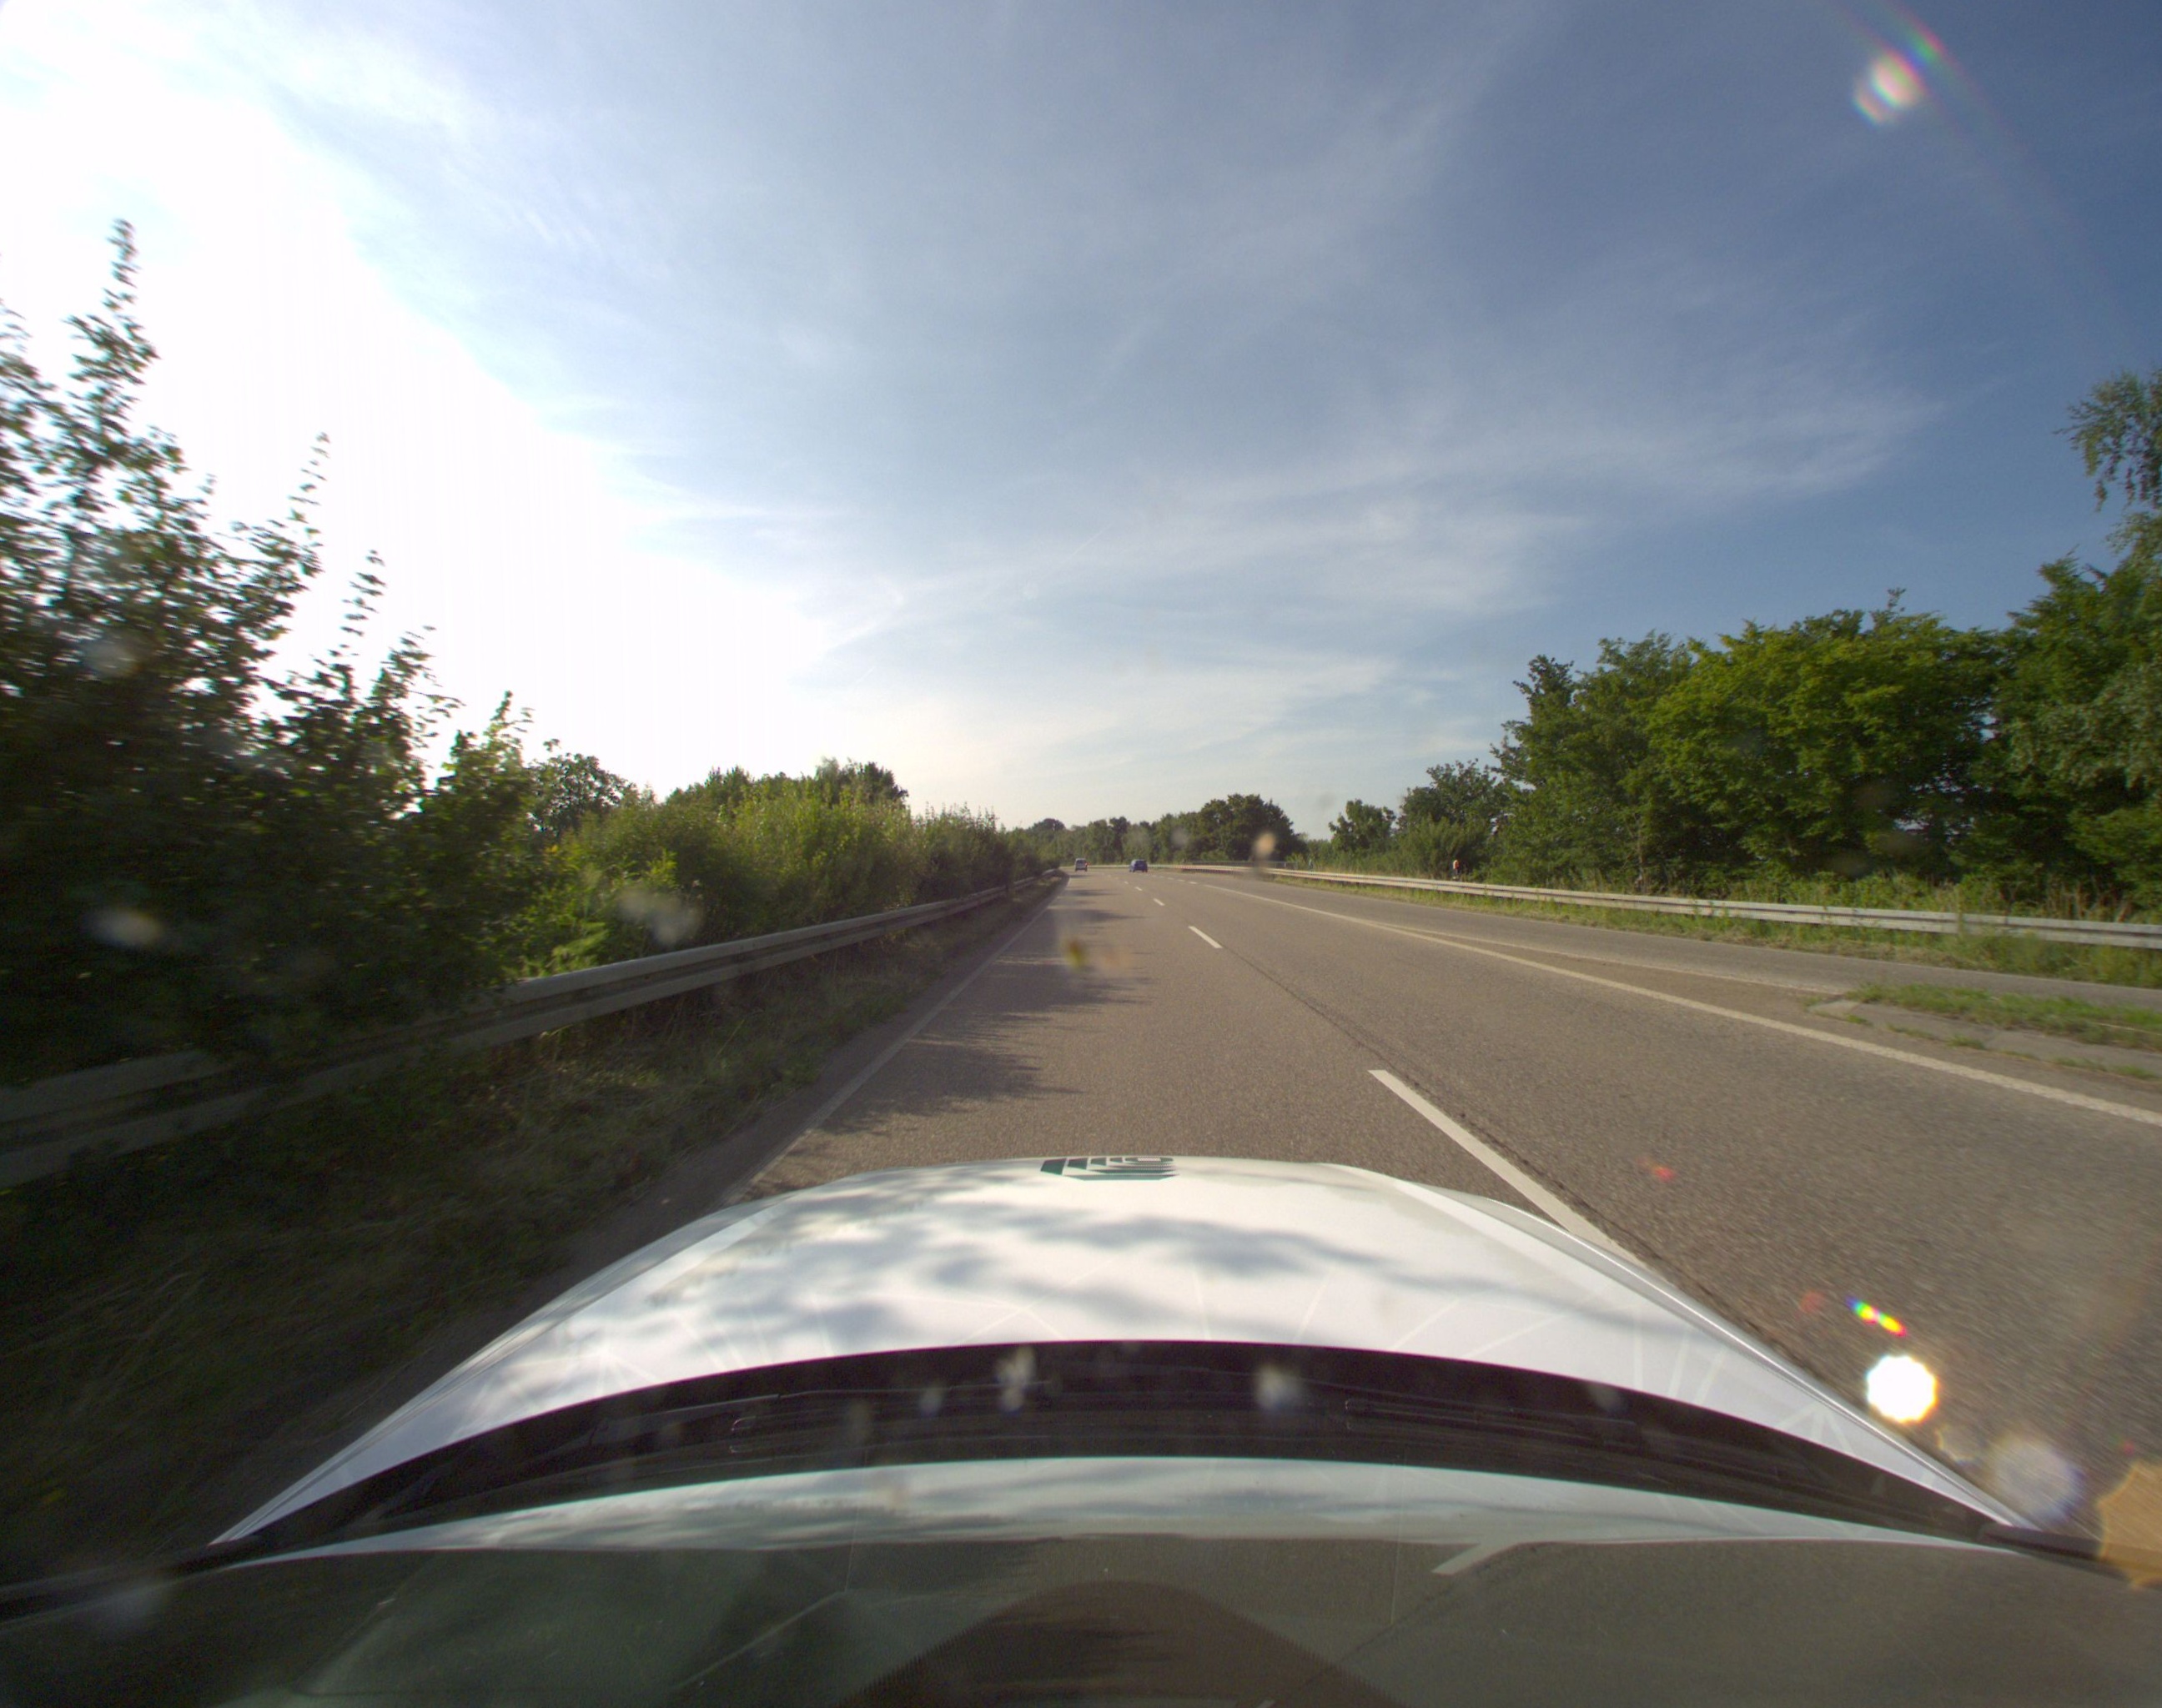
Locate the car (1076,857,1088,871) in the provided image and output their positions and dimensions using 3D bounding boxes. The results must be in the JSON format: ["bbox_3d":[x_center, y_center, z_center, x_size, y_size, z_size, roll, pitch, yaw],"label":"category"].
[{"bbox_3d":[0.163,1.420,116.948,1.759,1.882,4.000,-1,-1,1],"label":"car"}]

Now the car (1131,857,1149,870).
[{"bbox_3d":[6.828,1.141,94.958,1.773,1.452,3.999,-1,-1,0],"label":"car"}]
